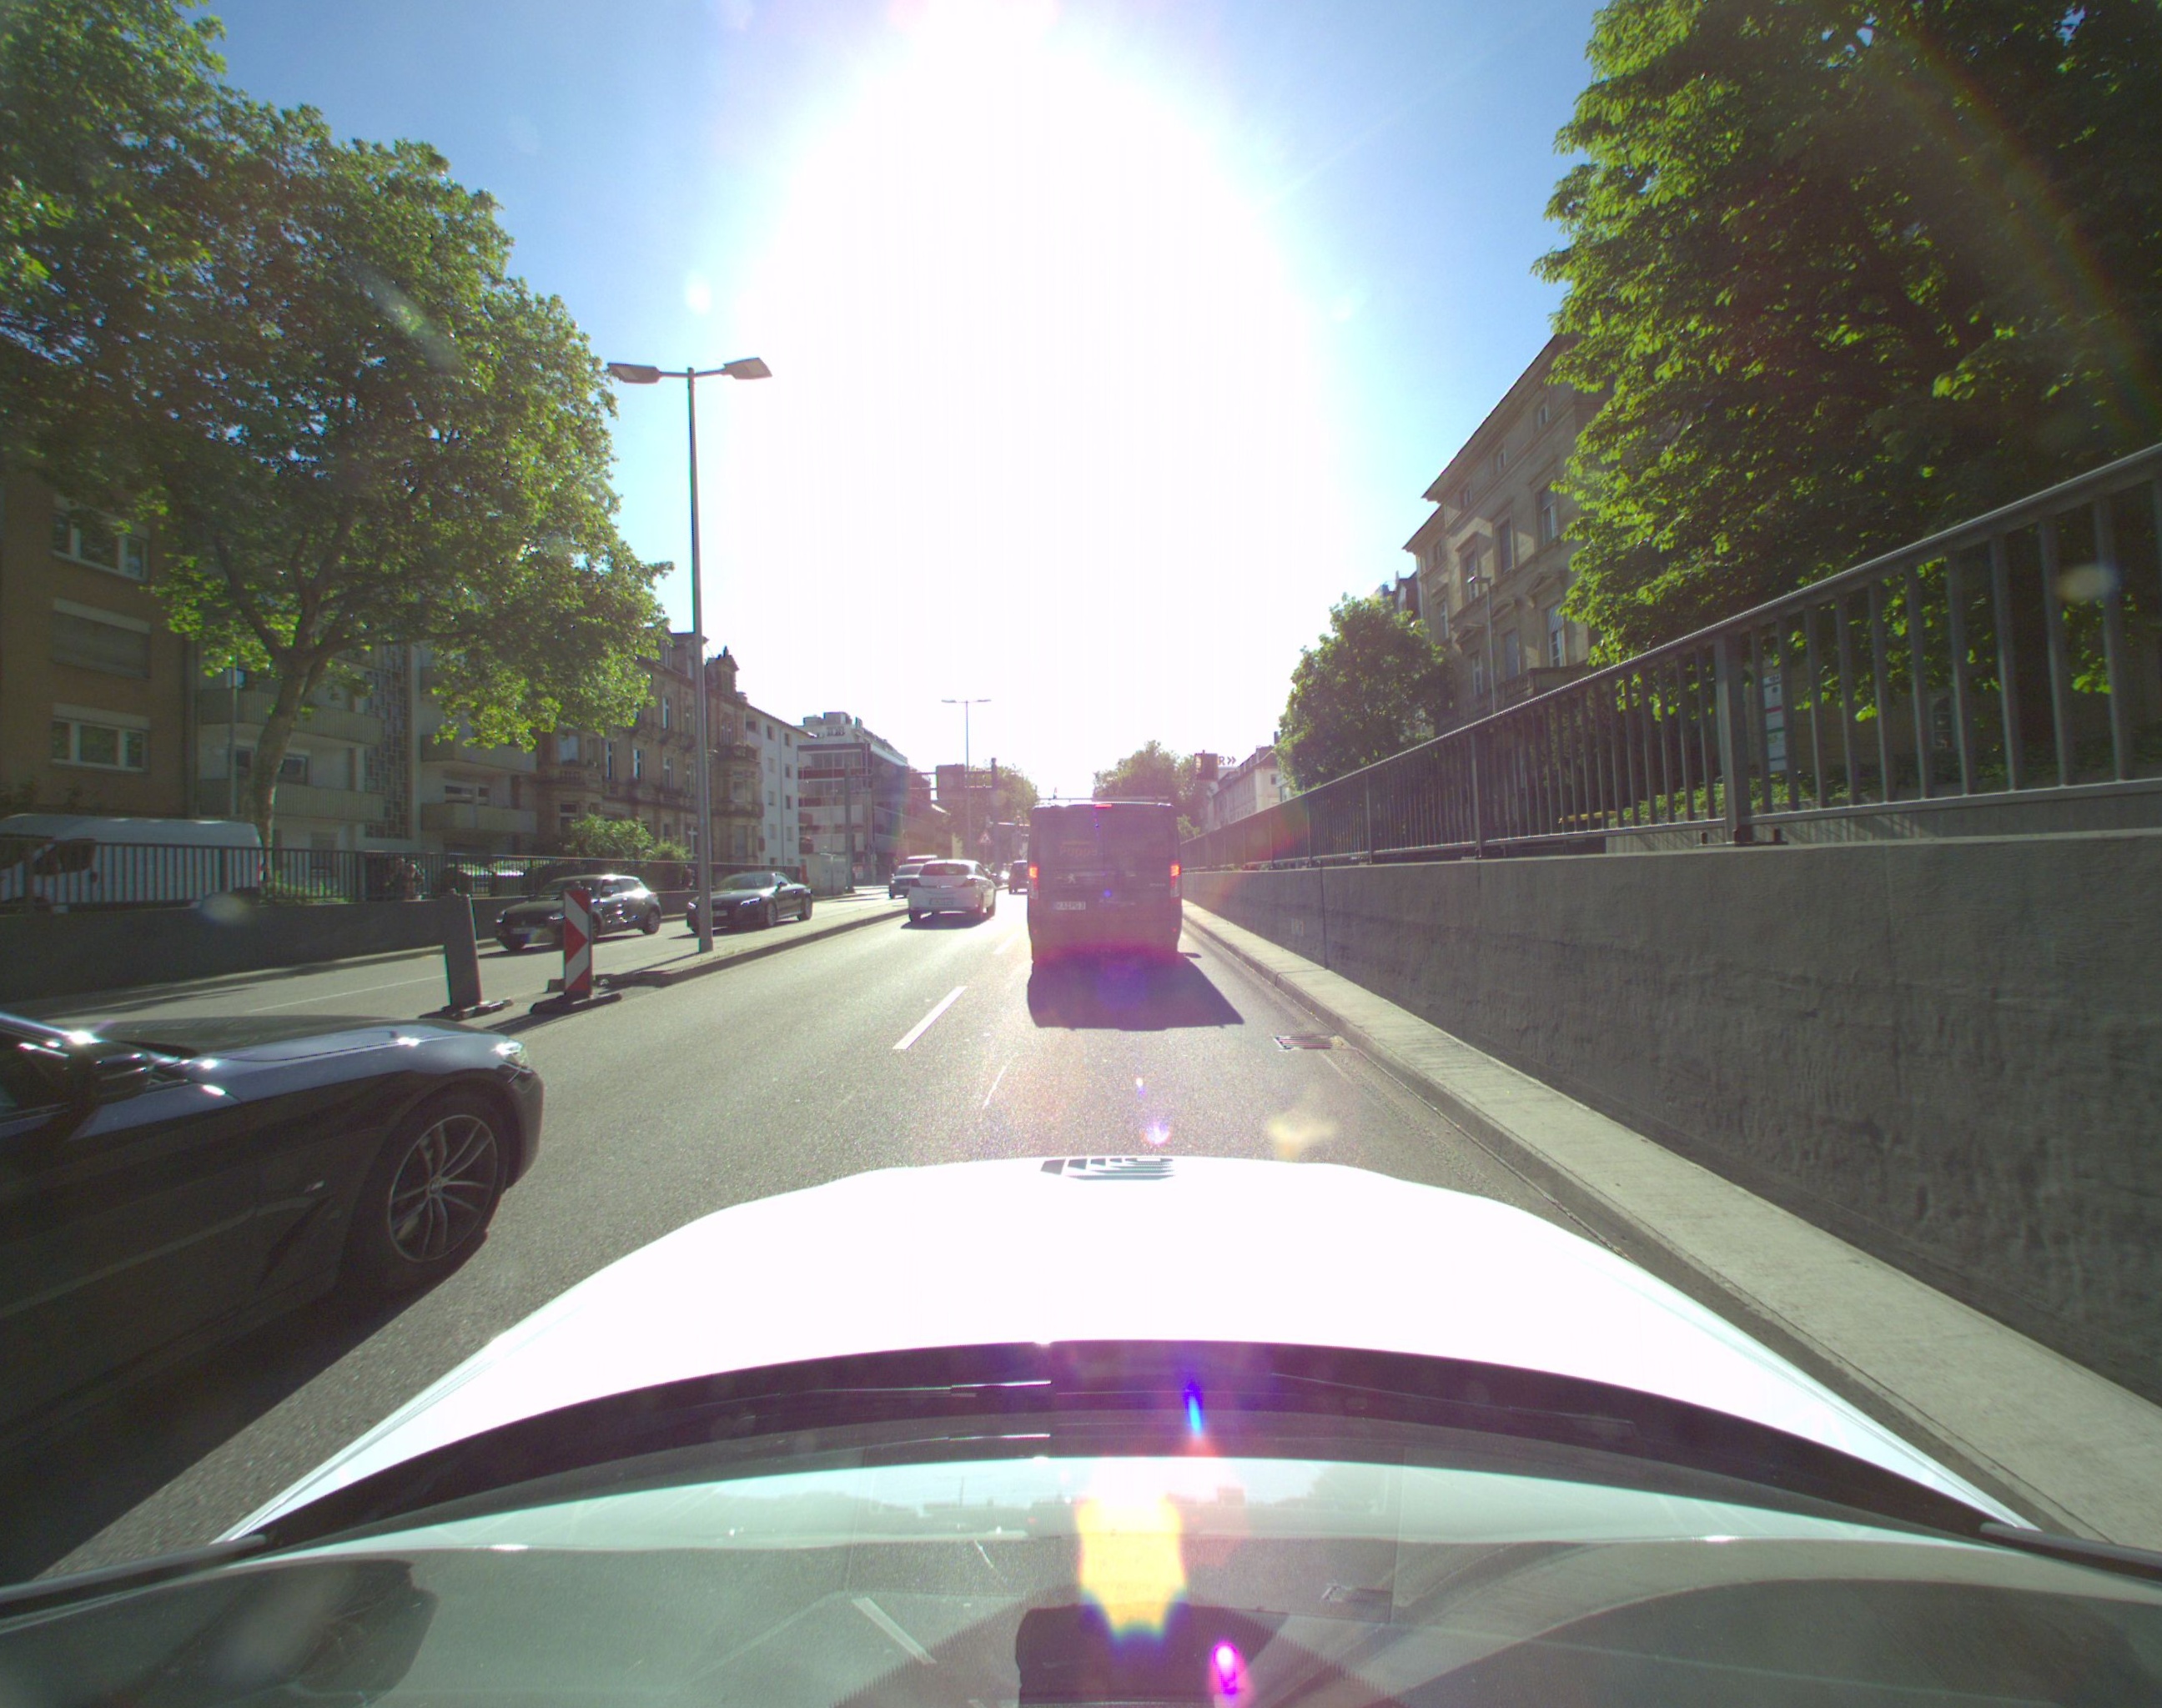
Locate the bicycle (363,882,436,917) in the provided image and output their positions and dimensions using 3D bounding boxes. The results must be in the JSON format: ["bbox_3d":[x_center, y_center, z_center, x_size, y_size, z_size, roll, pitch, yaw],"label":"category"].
[{"bbox_3d":[-19.530,1.295,23.387,0.654,0.927,1.757,0,-1,-2],"label":"bicycle"}]

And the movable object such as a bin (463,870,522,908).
[{"bbox_3d":[-22.629,1.336,31.343,1.274,1.402,1.325,0,-1,1],"label":"movable object such as a bin"}]

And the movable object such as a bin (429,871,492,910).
[{"bbox_3d":[-22.803,1.317,29.975,1.274,1.402,1.301,0,-1,1],"label":"movable object such as a bin"}]

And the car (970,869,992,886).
[{"bbox_3d":[-9.576,2.260,78.153,1.586,1.445,3.496,-4,-1,0],"label":"car"}]

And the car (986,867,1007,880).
[{"bbox_3d":[-9.968,2.314,96.248,1.929,1.555,3.924,0,-1,1],"label":"car"}]

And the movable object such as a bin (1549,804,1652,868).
[{"bbox_3d":[12.594,-0.419,19.783,1.449,1.324,1.402,-7,0,-17],"label":"movable object such as a bin"}]

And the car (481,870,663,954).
[{"bbox_3d":[-10.981,1.180,17.900,1.533,1.465,3.717,-4,0,0],"label":"car"}]

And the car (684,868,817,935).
[{"bbox_3d":[-7.932,1.087,19.952,1.533,1.300,3.928,-4,0,0],"label":"car"}]

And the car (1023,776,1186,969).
[{"bbox_3d":[0.339,0.259,12.311,2.023,2.402,3.973,-1,-1,1],"label":"car"}]

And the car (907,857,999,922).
[{"bbox_3d":[-3.058,0.808,20.185,1.613,1.403,3.852,0,0,1],"label":"car"}]

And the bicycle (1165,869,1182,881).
[{"bbox_3d":[8.567,1.911,75.571,1.560,1.118,0.570,0,-1,0],"label":"bicycle"}]

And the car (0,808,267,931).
[{"bbox_3d":[-21.732,0.338,17.946,1.986,2.359,5.421,0,-1,2],"label":"car"}]

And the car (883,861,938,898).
[{"bbox_3d":[-7.626,1.121,36.707,1.604,1.457,3.608,-5,-1,0],"label":"car"}]

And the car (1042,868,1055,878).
[{"bbox_3d":[-5.414,3.084,134.962,1.929,1.555,3.924,0,-1,1],"label":"car"}]

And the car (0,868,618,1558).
[{"bbox_3d":[-3.165,0.748,1.410,1.802,1.439,5.002,0,-1,1],"label":"car"}]

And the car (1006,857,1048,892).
[{"bbox_3d":[-2.431,0.901,37.472,1.683,1.483,3.319,0,0,1],"label":"car"}]

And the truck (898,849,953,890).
[{"bbox_3d":[-10.409,1.044,55.101,2.220,2.528,6.131,-3,-1,2],"label":"truck"}]

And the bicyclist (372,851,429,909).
[{"bbox_3d":[-19.533,0.741,23.394,0.773,1.633,1.022,0,-1,-2],"label":"bicyclist"}]

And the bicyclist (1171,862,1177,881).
[{"bbox_3d":[8.643,1.597,75.576,0.507,1.735,0.597,0,-1,1],"label":"bicyclist"}]

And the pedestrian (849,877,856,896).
[{"bbox_3d":[-22.449,3.169,80.055,0.659,1.896,0.720,0,-1,-12],"label":"pedestrian"}]
